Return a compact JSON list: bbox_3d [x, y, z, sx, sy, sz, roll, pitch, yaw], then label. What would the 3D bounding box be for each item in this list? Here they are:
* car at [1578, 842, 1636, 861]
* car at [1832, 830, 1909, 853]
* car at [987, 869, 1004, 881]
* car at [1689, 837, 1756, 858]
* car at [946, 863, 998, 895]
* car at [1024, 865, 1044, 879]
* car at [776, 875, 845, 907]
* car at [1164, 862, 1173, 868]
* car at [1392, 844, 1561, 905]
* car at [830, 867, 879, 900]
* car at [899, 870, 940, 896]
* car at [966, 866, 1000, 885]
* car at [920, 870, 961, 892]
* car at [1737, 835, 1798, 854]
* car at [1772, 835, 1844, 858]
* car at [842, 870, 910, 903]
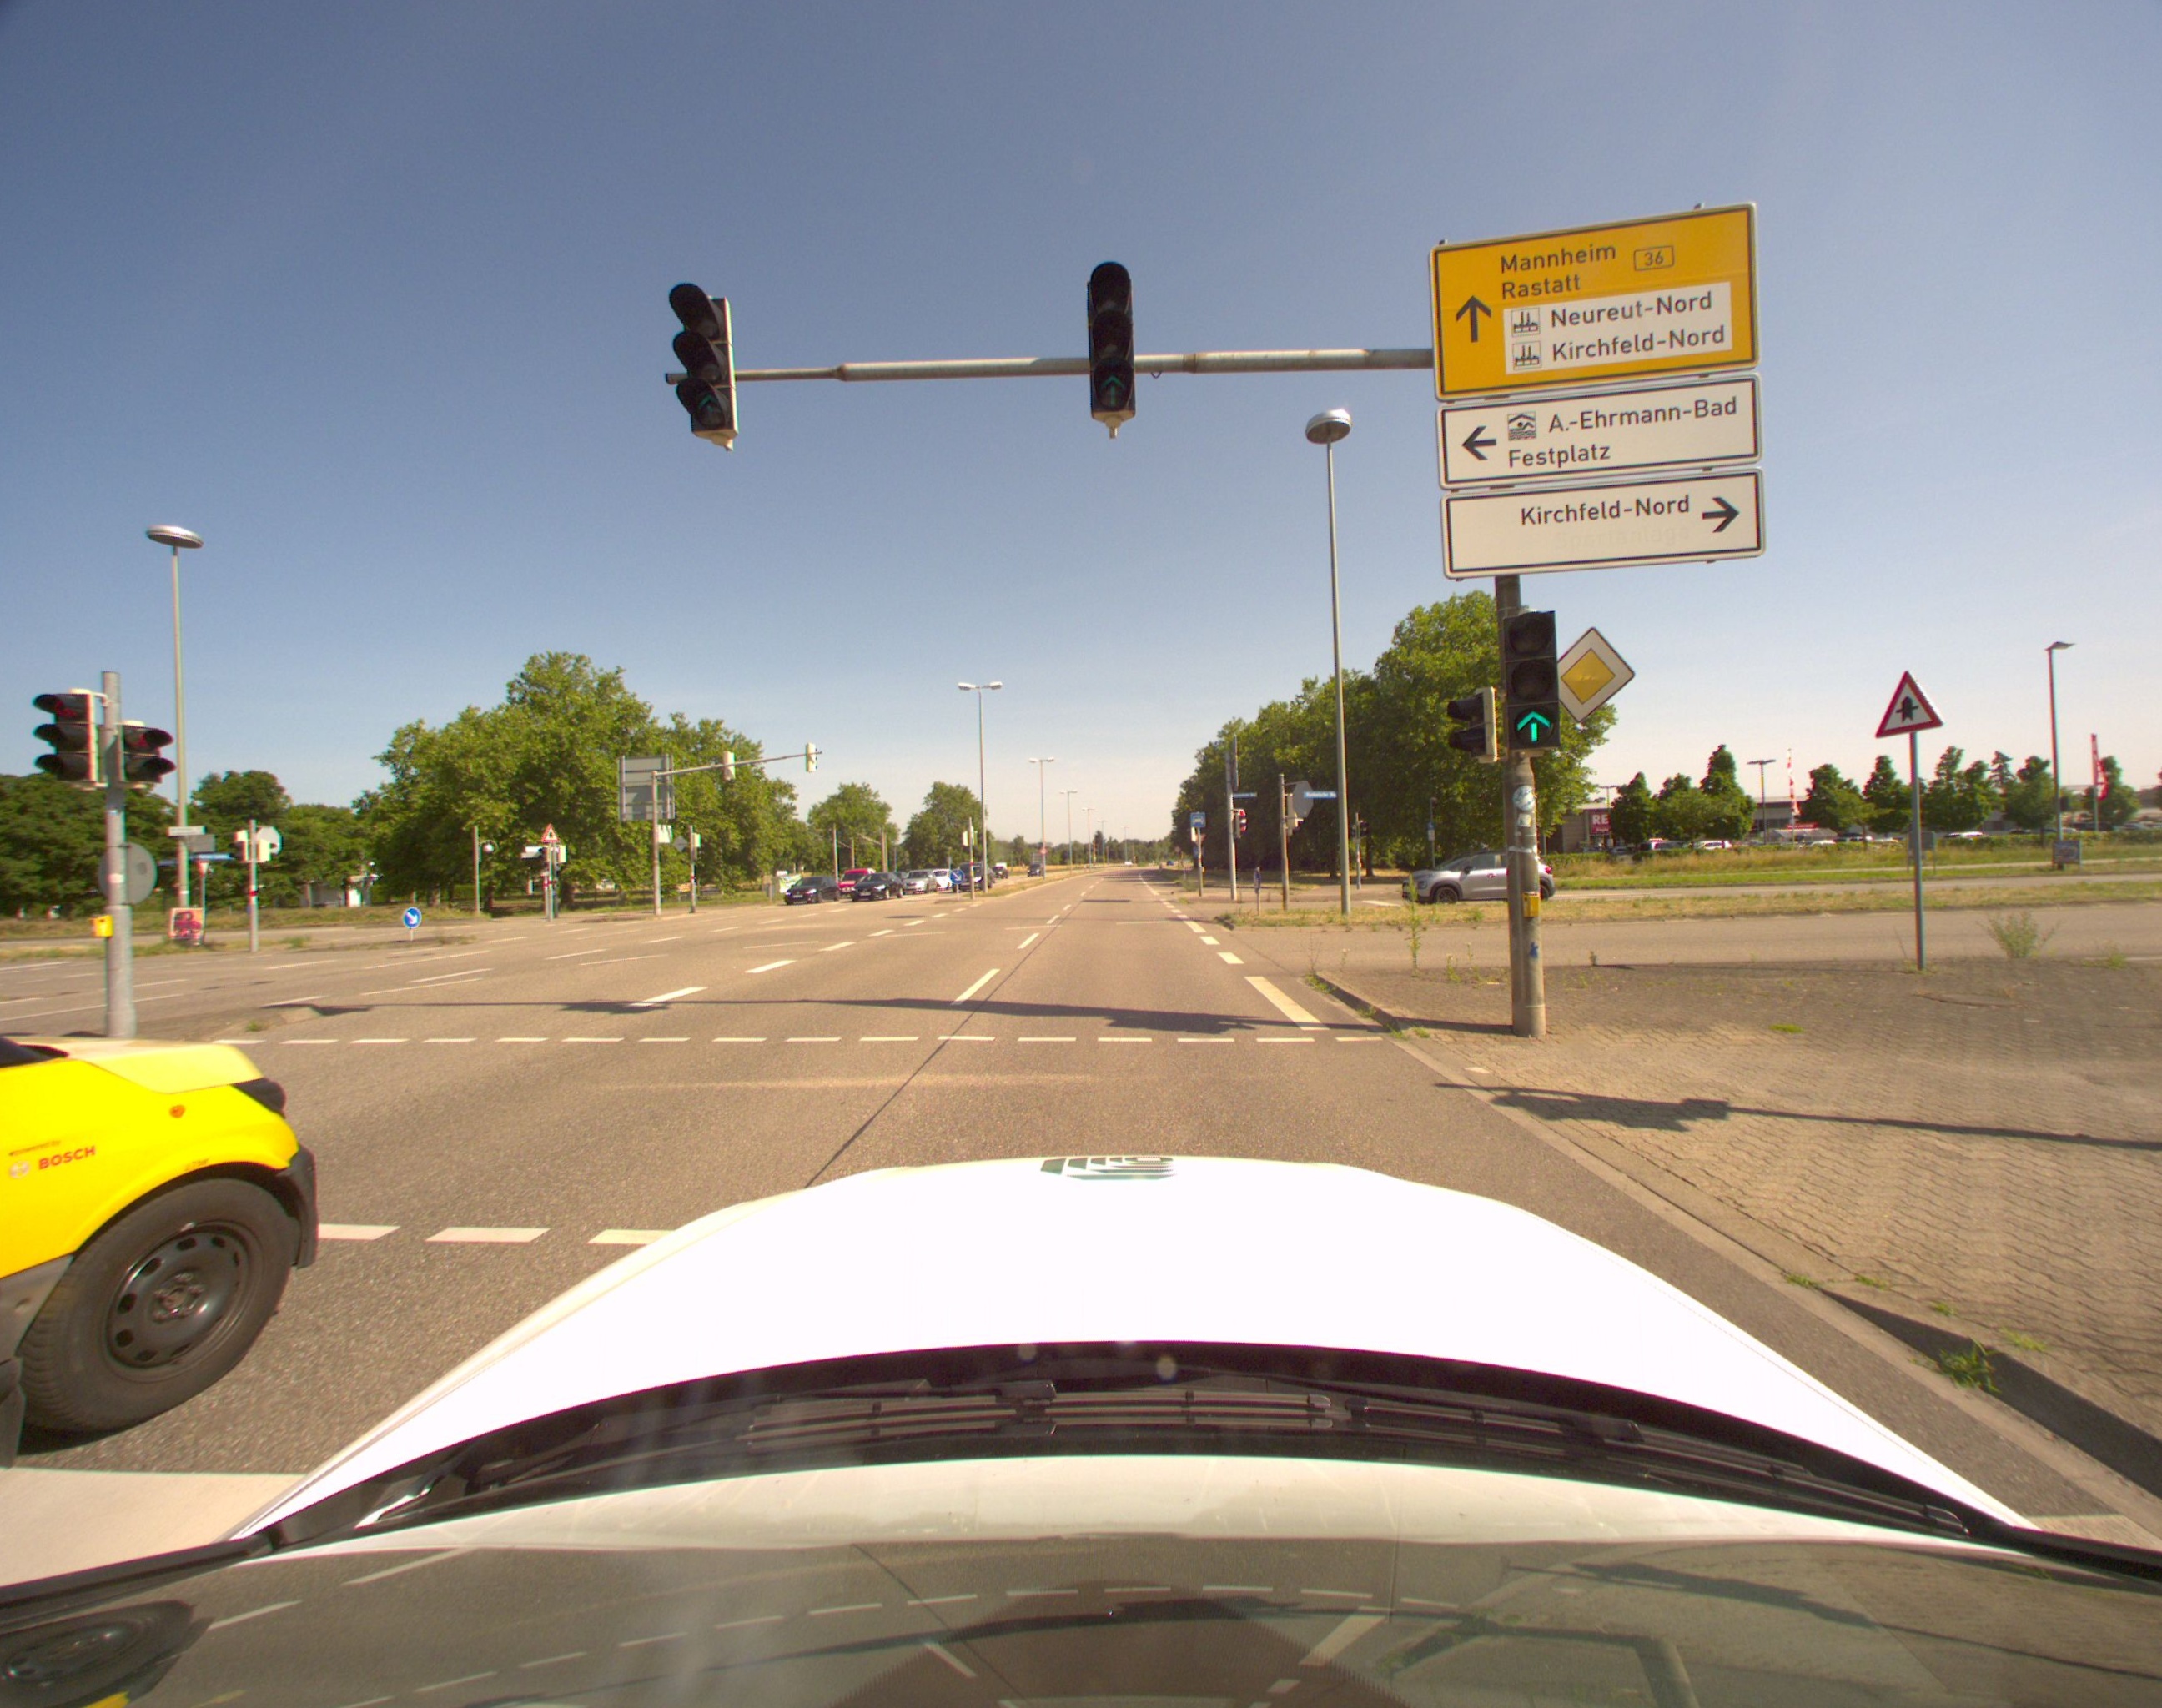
[{"bbox_3d":[53.135,-0.275,82.397,4.468,1.750,1.992,-2,-1,7],"label":"car"},{"bbox_3d":[70.139,-1.100,72.445,4.452,1.750,1.999,-3,-1,25],"label":"car"},{"bbox_3d":[-10.671,2.632,101.769,1.978,1.457,4.222,-2,-1,-5],"label":"car"},{"bbox_3d":[59.940,-0.558,76.138,4.468,1.750,1.992,-2,-1,7],"label":"car"},{"bbox_3d":[-6.343,1.434,47.906,1.971,1.750,4.514,-2,-1,5],"label":"car"},{"bbox_3d":[-6.250,2.380,109.165,1.972,1.779,4.494,-2,-1,4],"label":"car"},{"bbox_3d":[-14.169,1.910,42.909,1.876,1.457,4.235,-2,-1,5],"label":"car"},{"bbox_3d":[23.590,2.845,219.358,1.968,1.457,4.131,-3,-1,13],"label":"car"},{"bbox_3d":[11.421,0.590,23.711,4.036,1.564,1.744,-2,-1,2],"label":"car"},{"bbox_3d":[-13.684,1.750,49.378,1.699,1.770,4.227,-3,-1,-1],"label":"car"},{"bbox_3d":[-9.909,1.765,50.214,1.612,1.457,3.873,-2,-1,2],"label":"car"},{"bbox_3d":[-8.516,1.858,70.843,1.972,1.457,4.456,-2,-1,5],"label":"car"},{"bbox_3d":[-9.759,1.886,56.963,1.820,1.386,3.848,-2,-1,5],"label":"car"},{"bbox_3d":[72.030,-1.016,85.508,4.461,1.750,1.995,-2,-1,14],"label":"car"},{"bbox_3d":[60.374,-0.632,67.695,3.962,1.728,2.006,-2,-1,10],"label":"car"},{"bbox_3d":[-10.352,1.626,41.447,1.972,1.457,4.338,-2,-1,5],"label":"car"}]
